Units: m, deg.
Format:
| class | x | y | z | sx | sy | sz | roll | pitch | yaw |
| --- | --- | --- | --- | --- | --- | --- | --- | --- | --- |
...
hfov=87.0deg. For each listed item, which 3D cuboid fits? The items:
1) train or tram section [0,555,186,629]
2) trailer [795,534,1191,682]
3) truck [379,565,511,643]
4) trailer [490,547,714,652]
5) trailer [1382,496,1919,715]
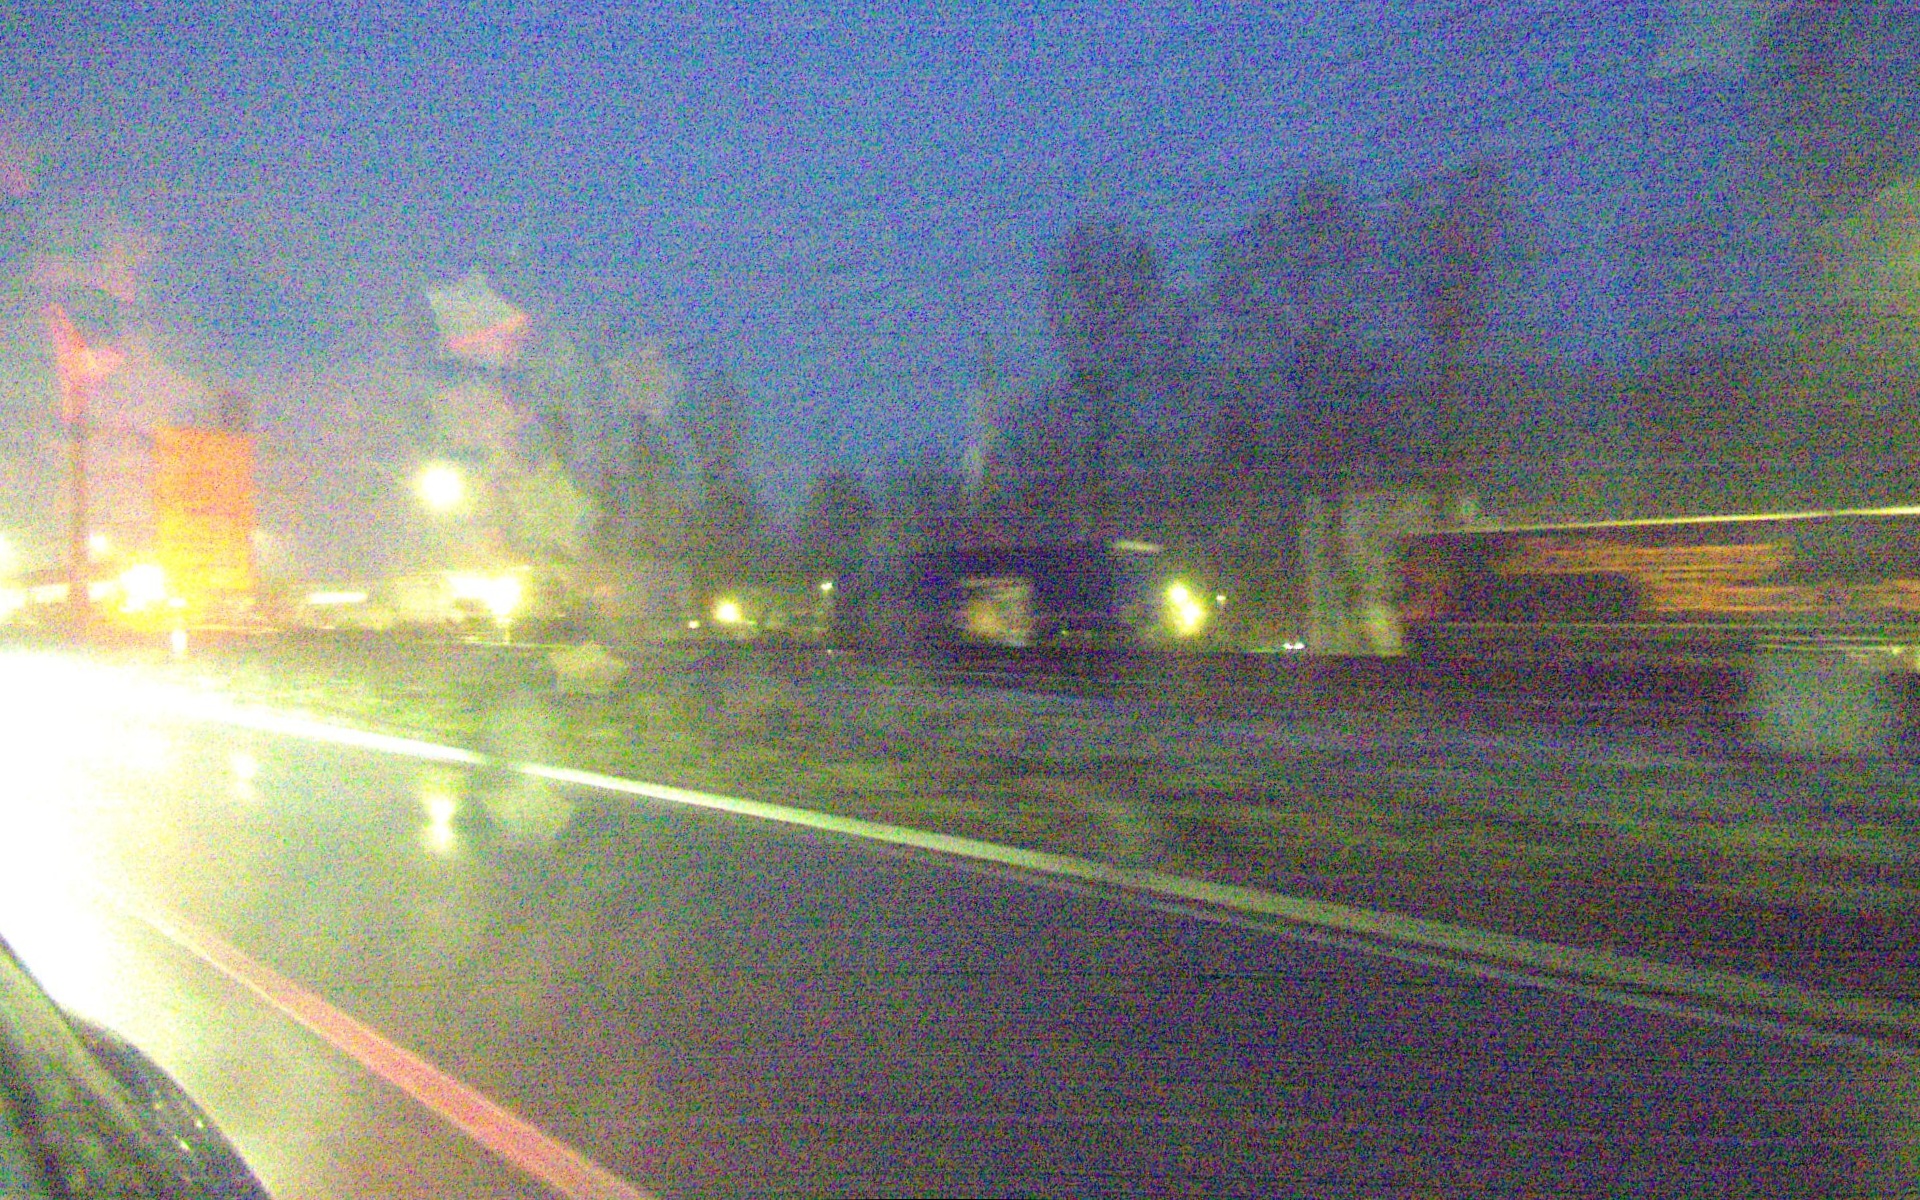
| class | x | y | z | sx | sy | sz | roll | pitch | yaw |
| --- | --- | --- | --- | --- | --- | --- | --- | --- | --- |
| train or tram section | -56.939 | -0.439 | 64.758 | 37.097 | 3.843 | 2.671 | 0 | 2 | 38 |
| trailer | 0.625 | 0.174 | 38.031 | 15.493 | 4.644 | 3.934 | 0 | 2 | 38 |
| truck | -33.155 | 0.207 | 64.929 | 10.198 | 4.644 | 3.407 | 0 | 2 | 38 |
| trailer | -19.598 | -0.085 | 54.504 | 14.814 | 5.050 | 3.934 | 0 | 2 | 38 |
| trailer | 18.514 | 0.048 | 25.238 | 14.227 | 4.644 | 3.934 | 0 | 2 | 38 |
